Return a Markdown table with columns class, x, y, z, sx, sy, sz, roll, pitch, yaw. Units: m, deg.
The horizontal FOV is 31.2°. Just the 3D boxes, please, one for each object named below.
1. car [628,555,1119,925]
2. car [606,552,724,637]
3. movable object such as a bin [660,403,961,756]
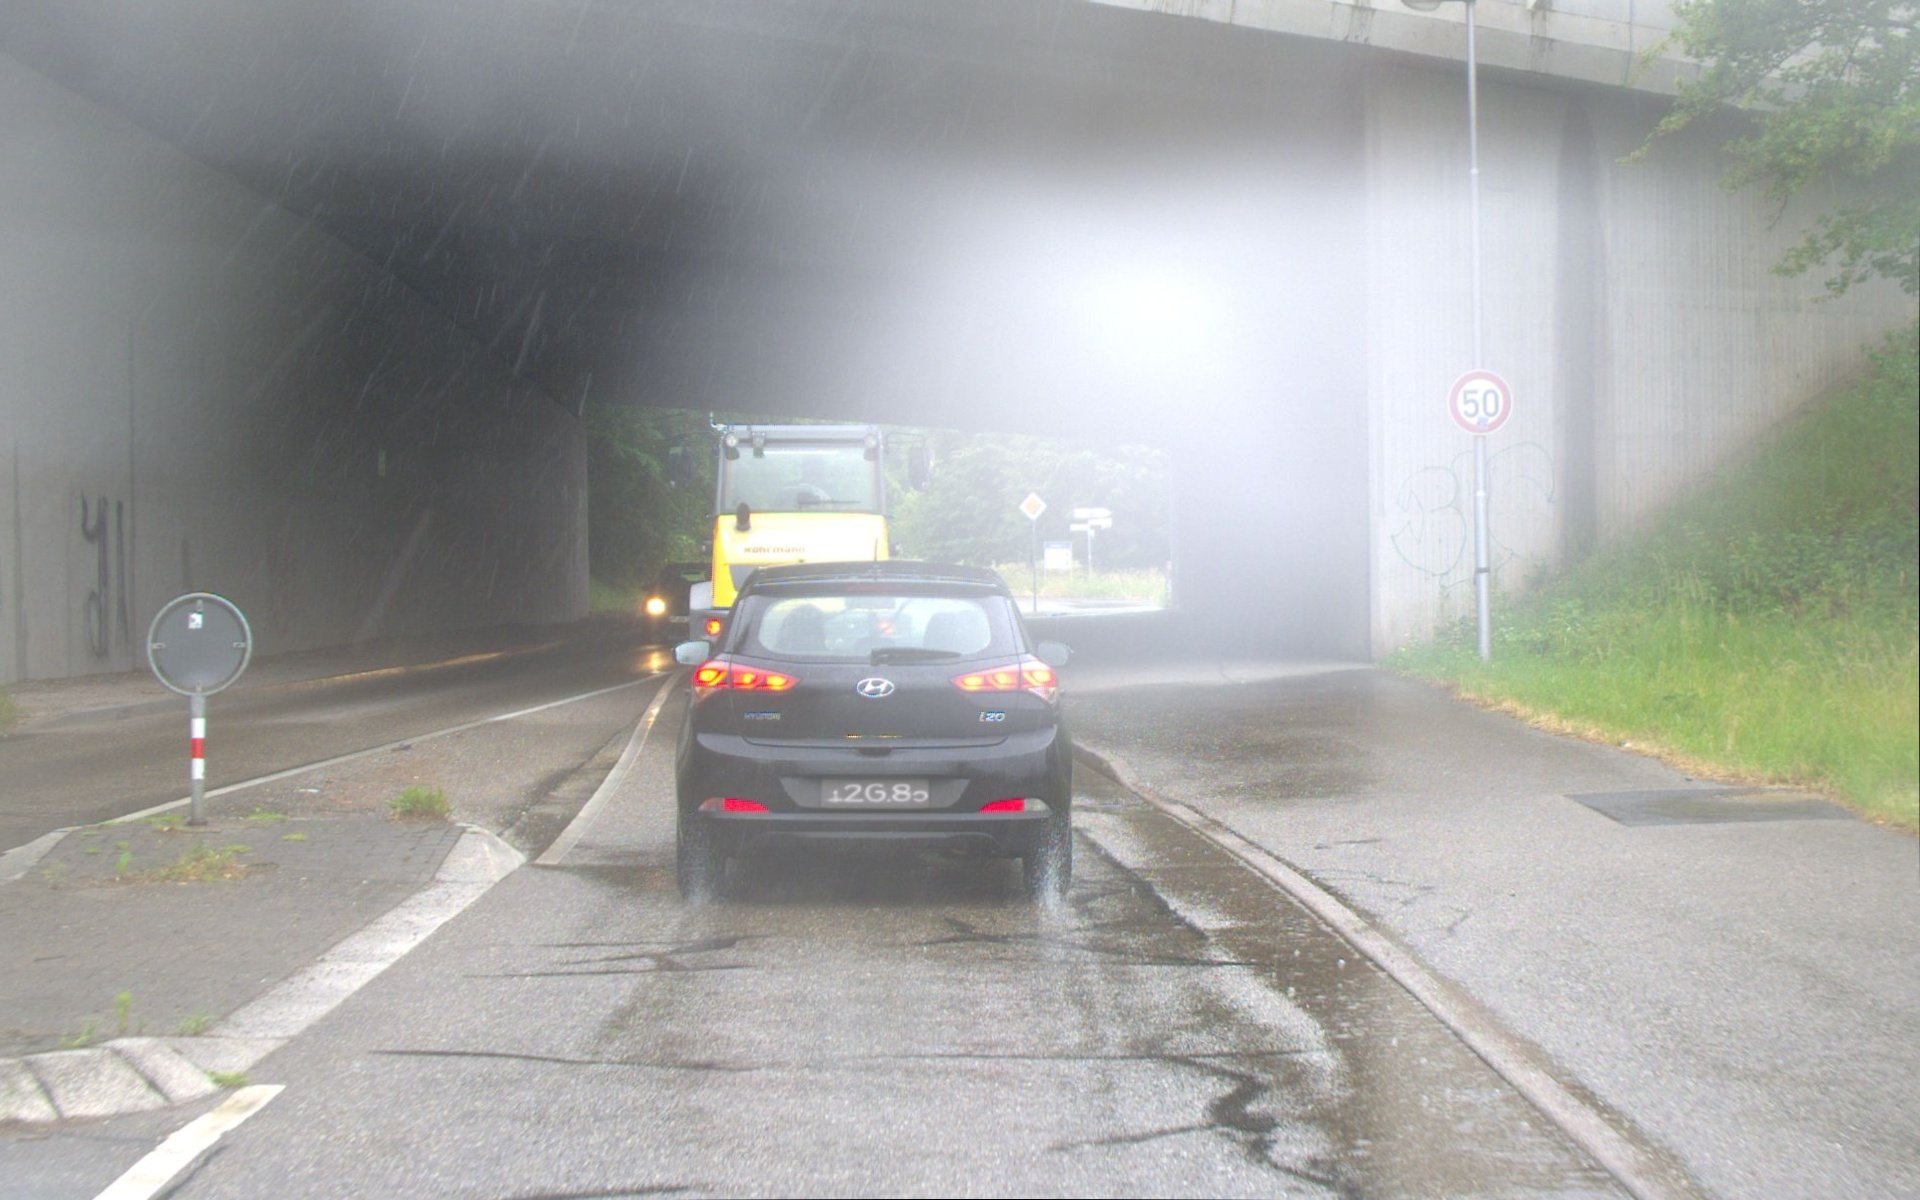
| class | x | y | z | sx | sy | sz | roll | pitch | yaw |
| --- | --- | --- | --- | --- | --- | --- | --- | --- | --- |
| car | -0.428 | 0.556 | 16.157 | 1.993 | 1.482 | 4.000 | 1 | 1 | -2 |
| car | -5.320 | -0.127 | 62.404 | 1.690 | 1.482 | 4.073 | 0 | 1 | 1 |
| movable object such as a bin | -1.268 | -0.190 | 29.641 | 2.245 | 2.660 | 6.627 | 1 | 1 | -2 |
